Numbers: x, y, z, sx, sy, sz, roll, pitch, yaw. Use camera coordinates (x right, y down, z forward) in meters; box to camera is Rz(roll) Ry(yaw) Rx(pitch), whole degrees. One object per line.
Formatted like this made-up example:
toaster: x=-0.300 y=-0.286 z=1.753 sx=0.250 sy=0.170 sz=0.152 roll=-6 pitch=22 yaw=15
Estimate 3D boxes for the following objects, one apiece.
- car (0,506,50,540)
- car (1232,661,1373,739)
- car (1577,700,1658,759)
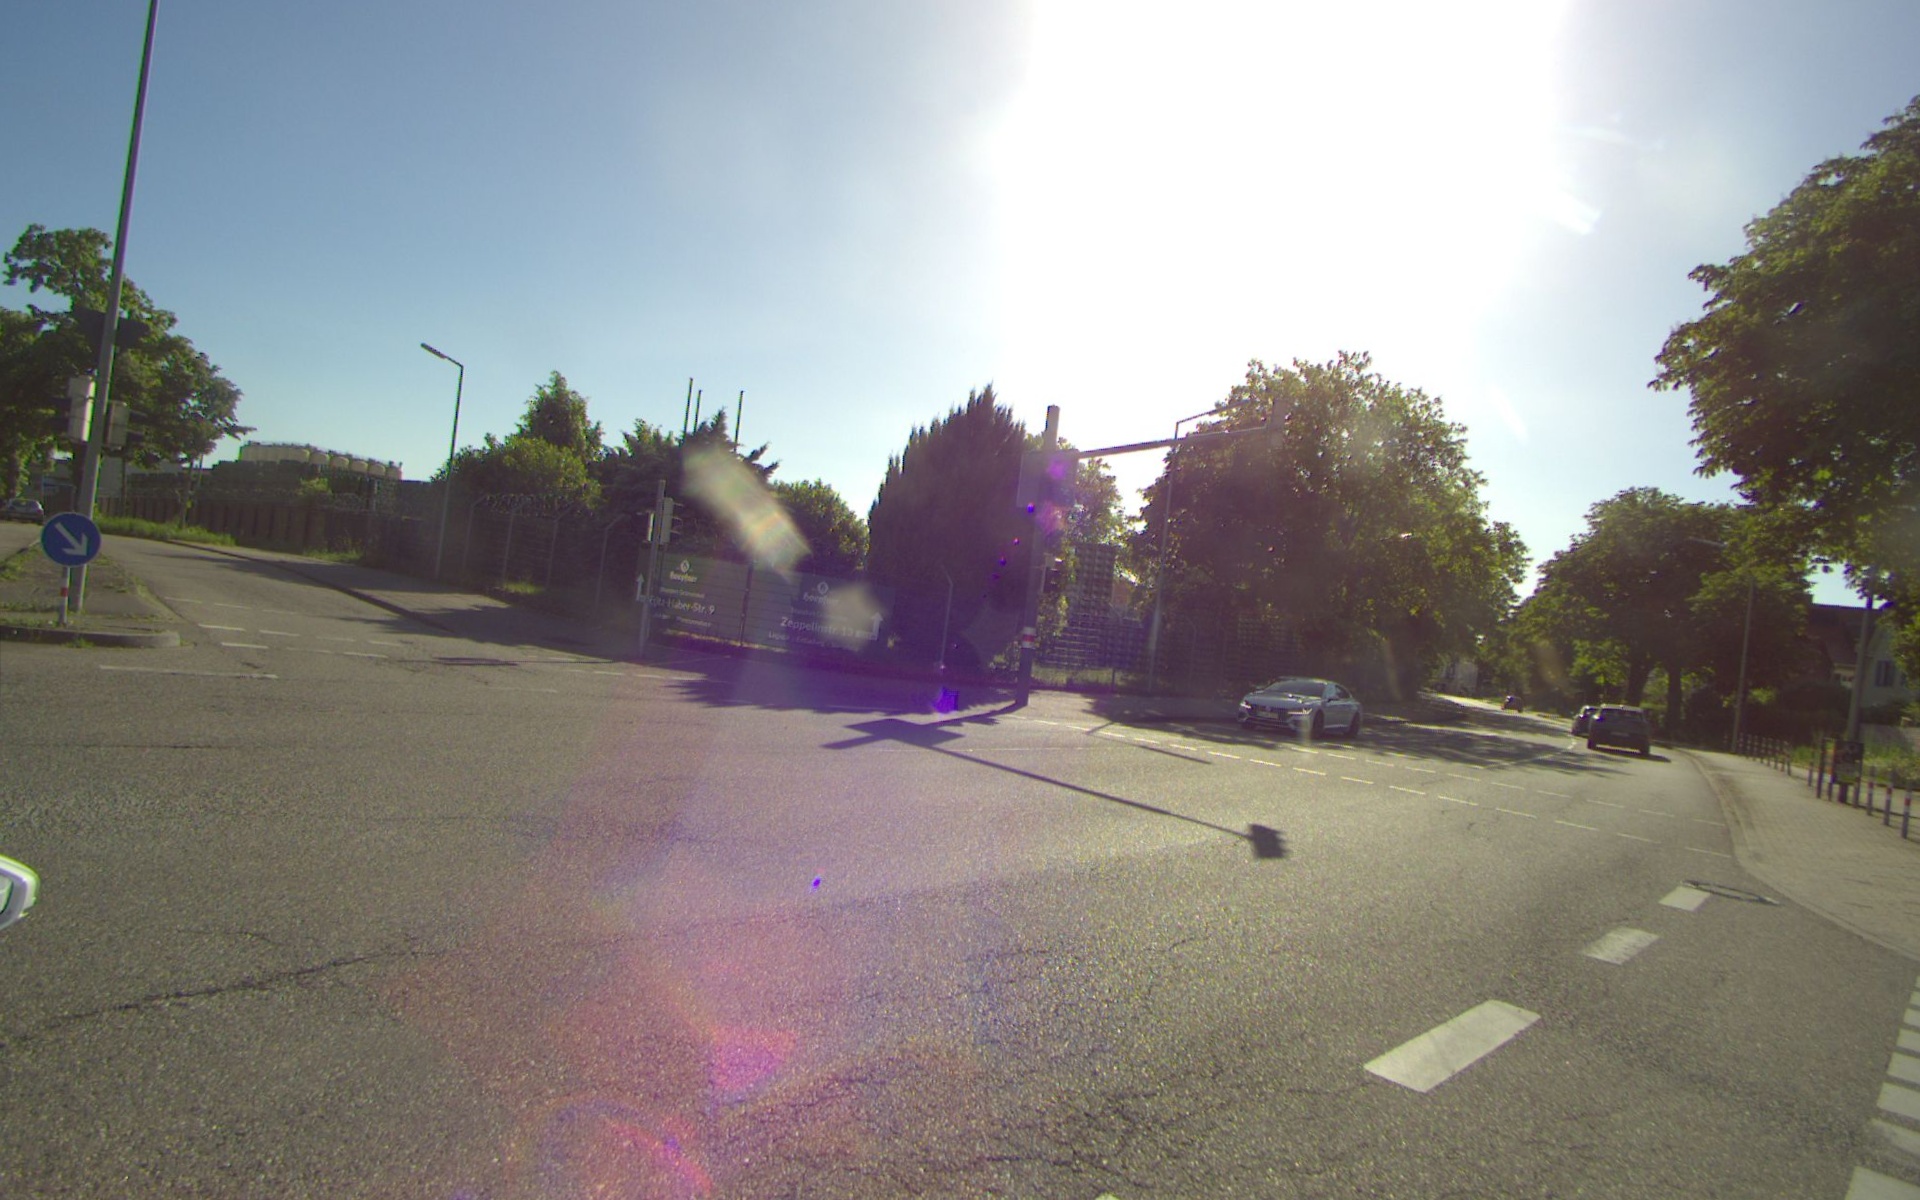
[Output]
car: x=-55.142 y=-4.543 z=59.297 sx=3.085 sy=1.651 sz=1.688 roll=6 pitch=-1 yaw=39
car: x=8.565 y=2.502 z=24.916 sx=1.784 sy=1.550 sz=4.499 roll=6 pitch=-2 yaw=39
car: x=23.118 y=4.509 z=35.520 sx=1.830 sy=1.654 sz=4.254 roll=7 pitch=-2 yaw=28
